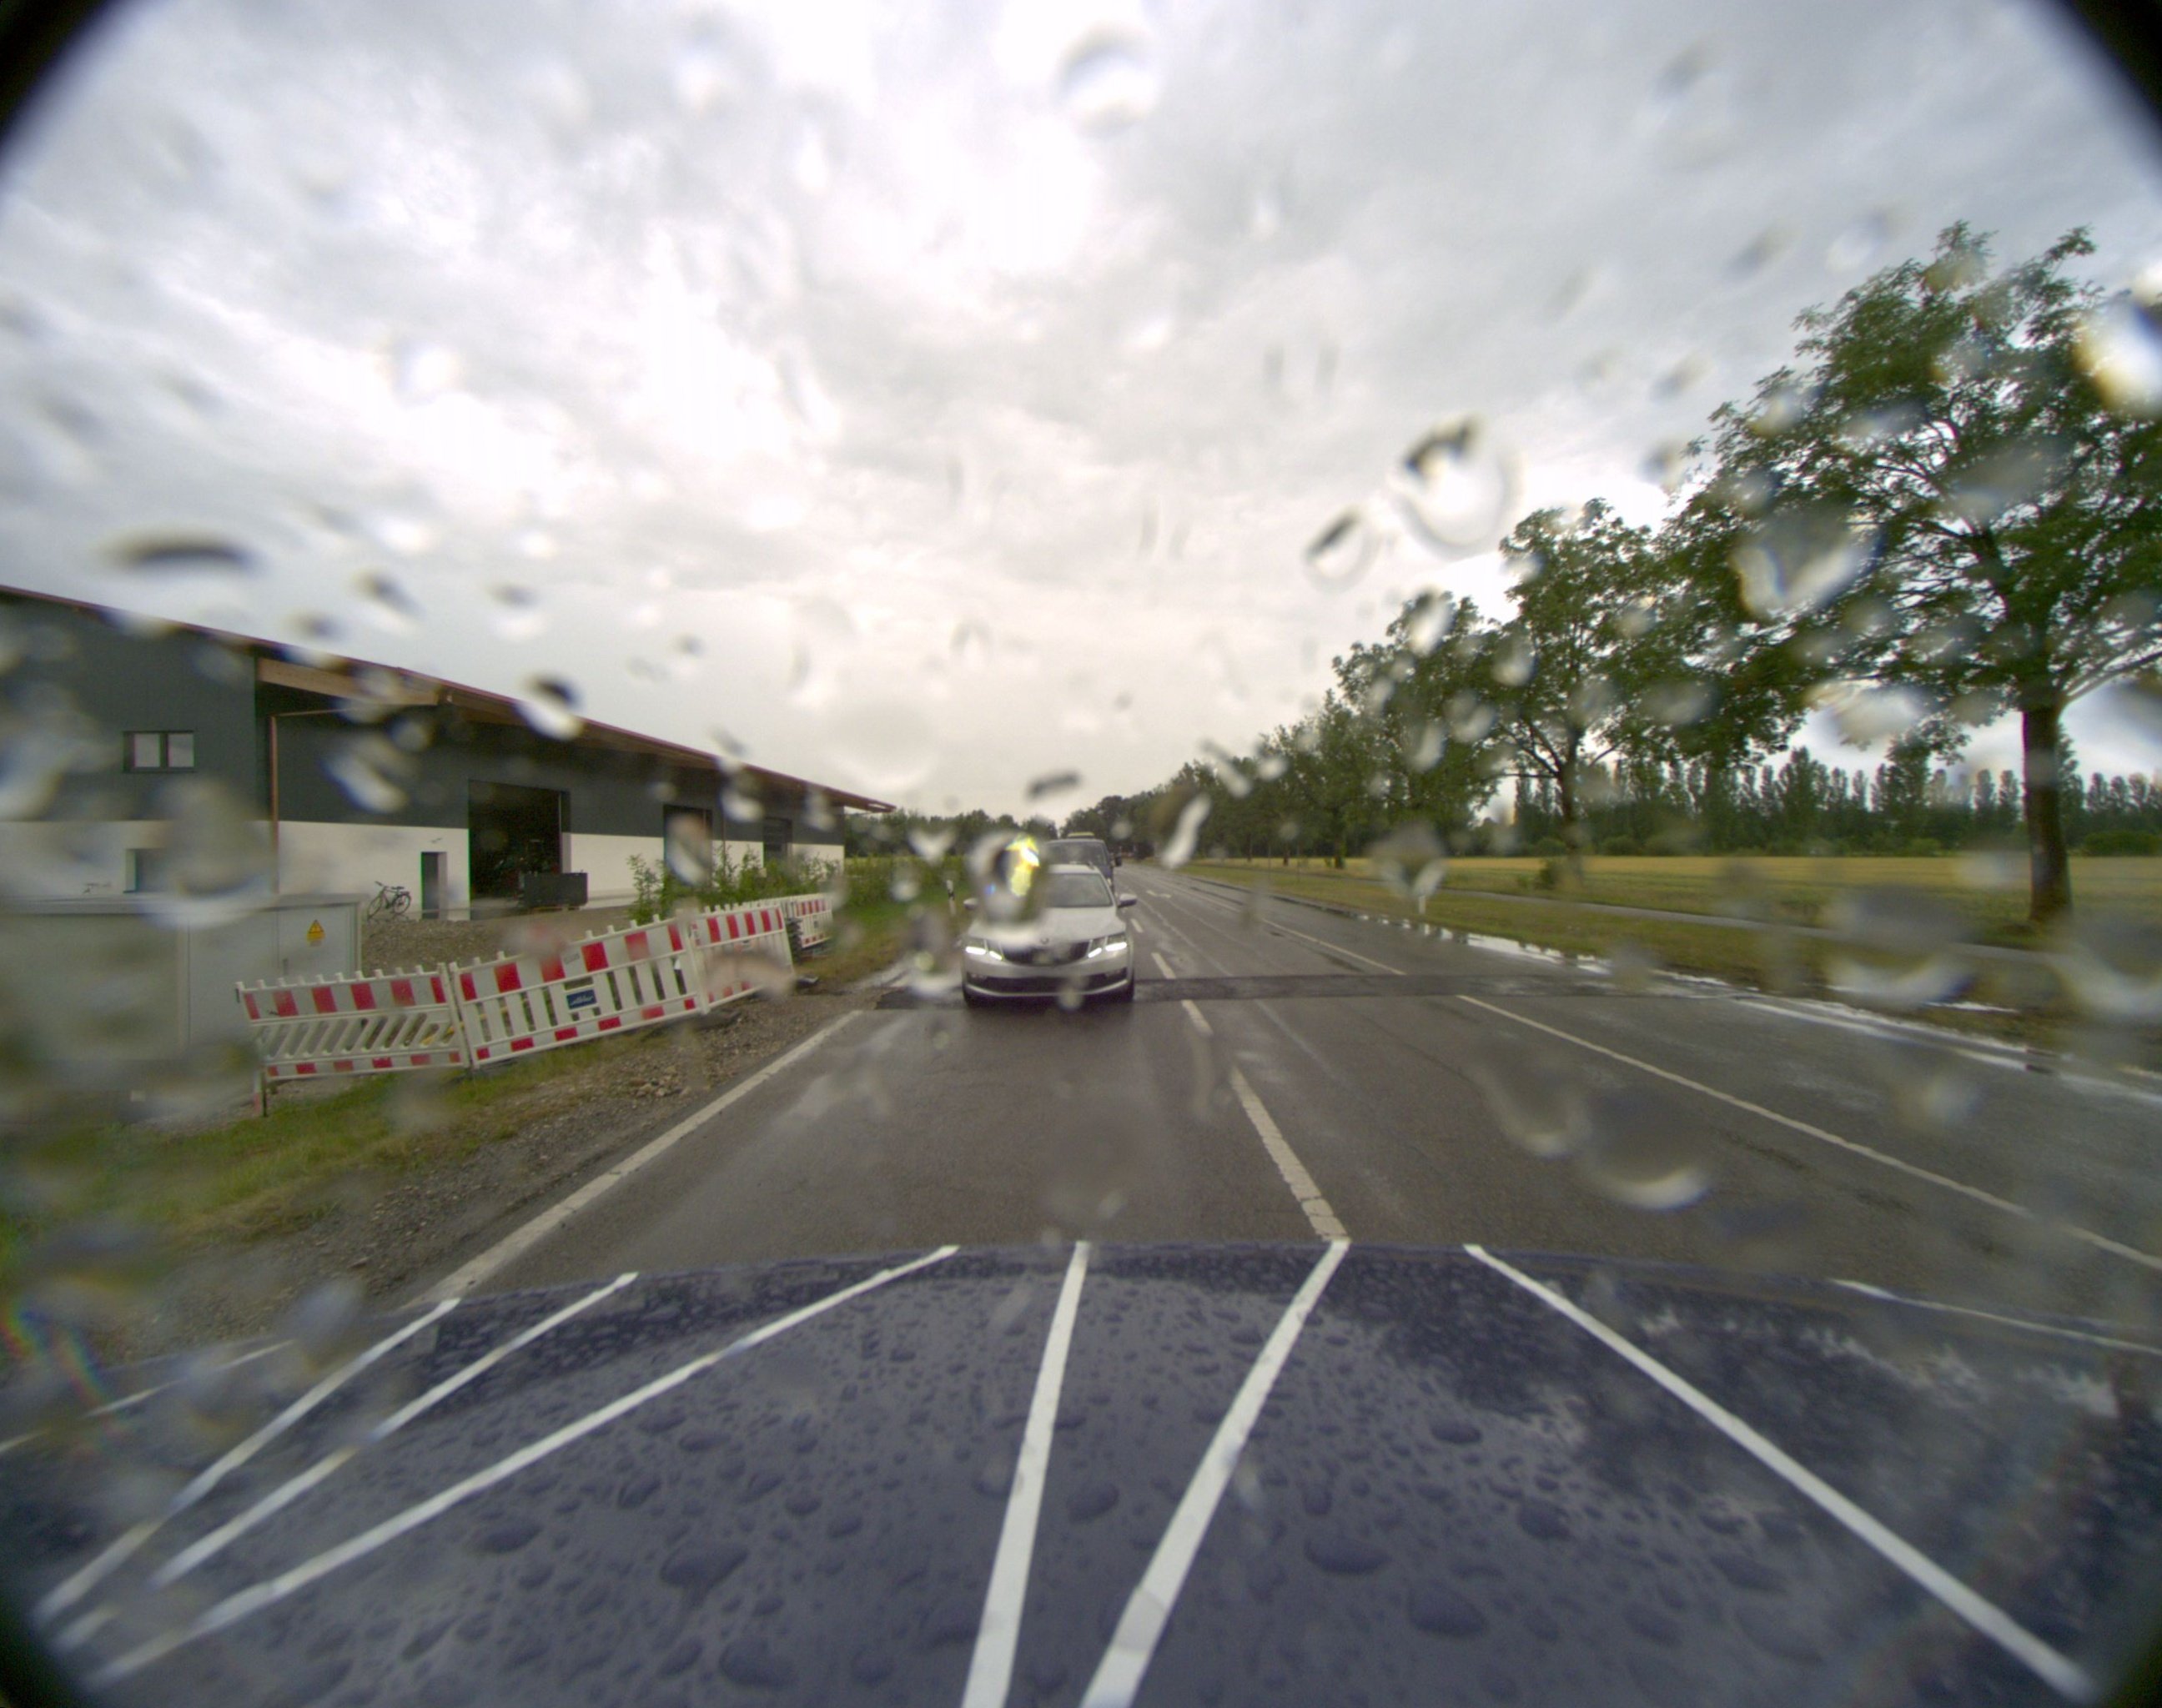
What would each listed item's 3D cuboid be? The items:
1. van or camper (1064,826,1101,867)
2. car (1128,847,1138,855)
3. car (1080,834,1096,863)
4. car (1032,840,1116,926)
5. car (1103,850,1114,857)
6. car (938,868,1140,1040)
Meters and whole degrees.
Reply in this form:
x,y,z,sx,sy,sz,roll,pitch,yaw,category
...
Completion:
x,y,z,sx,sy,sz,roll,pitch,yaw,category
0.203,-0.711,73.250,3.342,3.624,8.372,-1,1,1,van or camper
13.102,-0.854,191.576,1.999,2.002,3.998,-1,1,-4,car
0.768,-0.629,84.769,1.771,3.134,4.027,-1,0,0,car
-0.124,0.617,18.942,1.841,1.888,4.575,-1,1,1,car
7.525,-0.193,208.531,2.000,2.002,3.996,-1,0,-11,car
-0.352,0.950,9.170,1.770,1.365,4.575,-2,0,1,car
